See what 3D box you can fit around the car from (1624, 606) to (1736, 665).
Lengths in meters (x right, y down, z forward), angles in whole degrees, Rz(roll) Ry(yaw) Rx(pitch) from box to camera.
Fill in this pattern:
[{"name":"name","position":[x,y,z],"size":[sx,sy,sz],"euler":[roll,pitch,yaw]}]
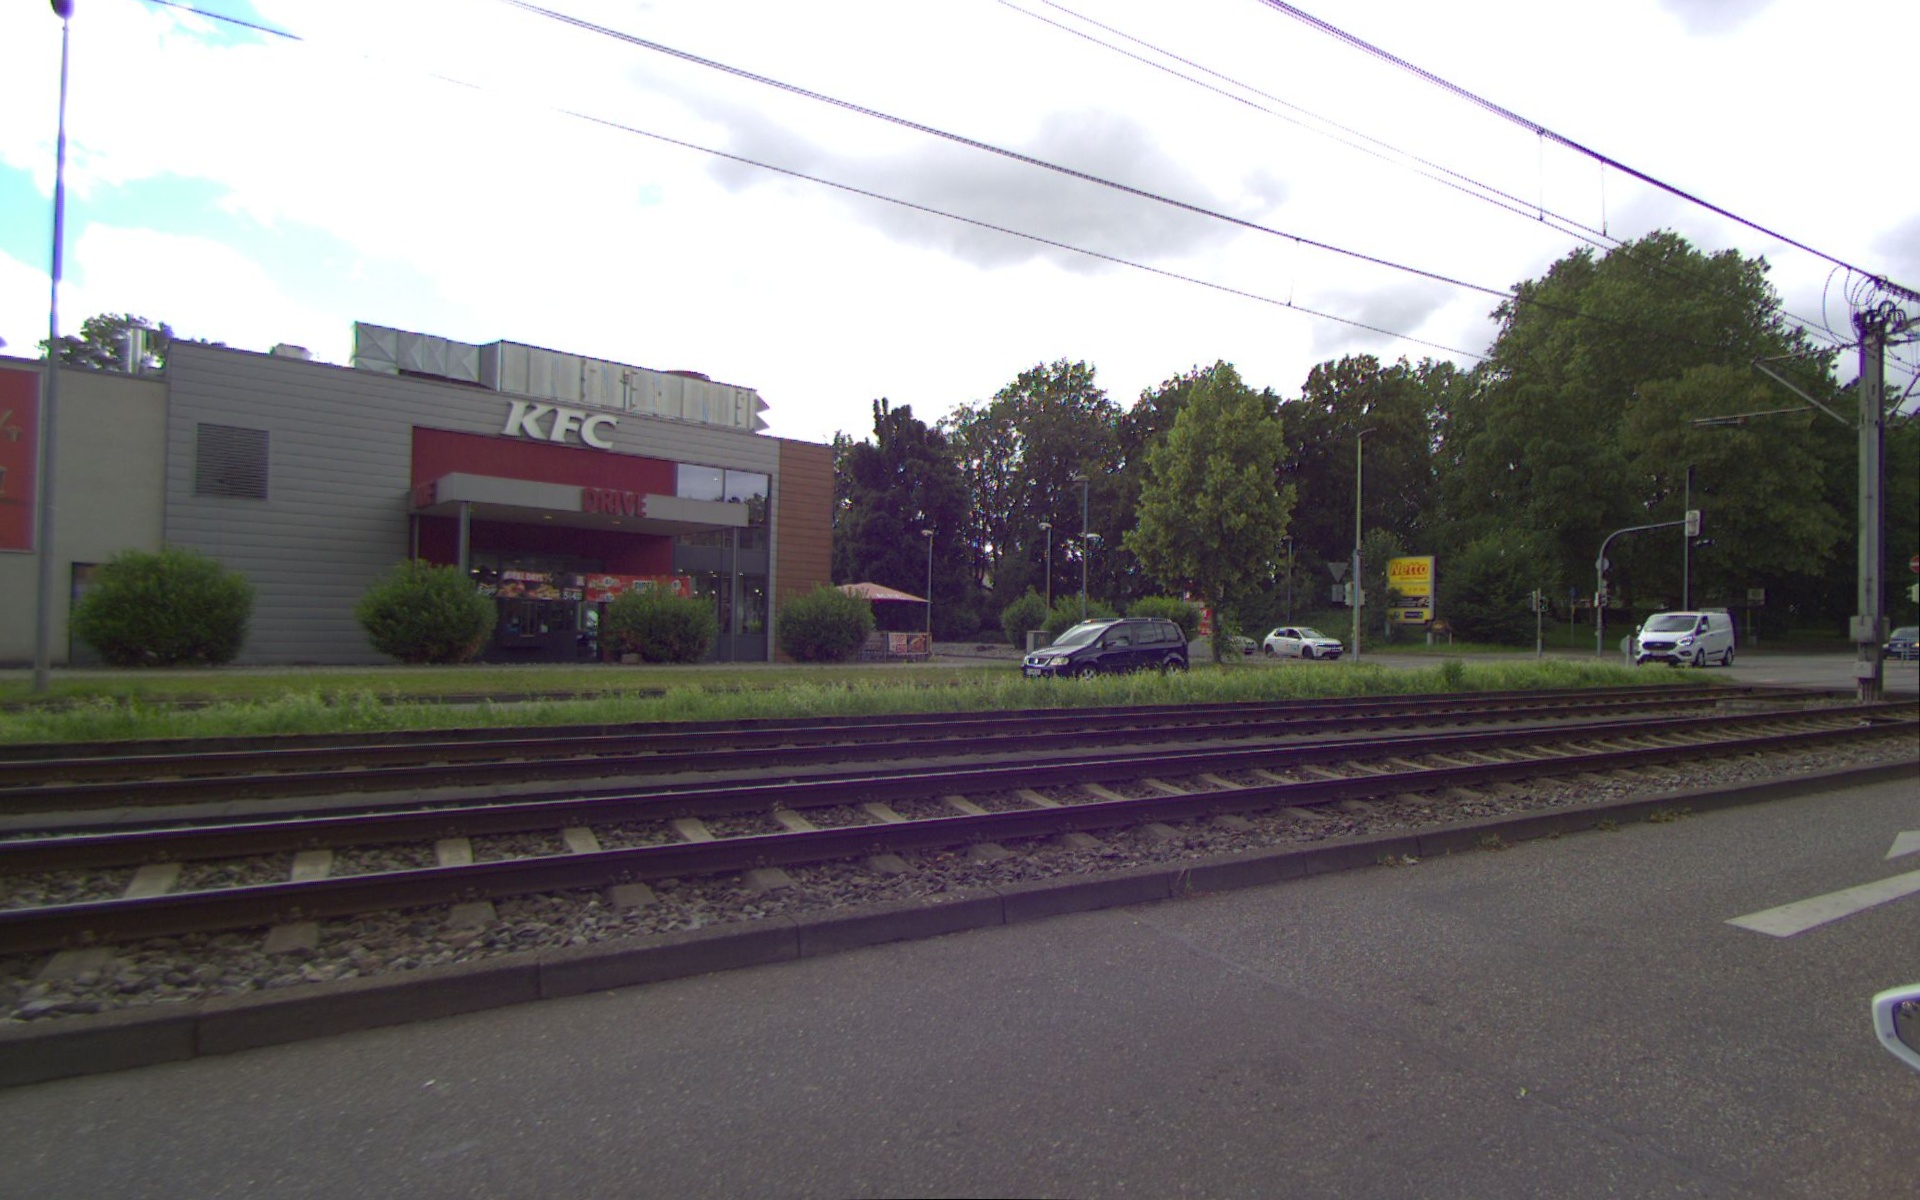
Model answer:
[{"name":"car","position":[26.650,1.317,37.109],"size":[4.839,2.040,1.980],"euler":[2,-2,-36]}]

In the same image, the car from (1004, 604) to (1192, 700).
[{"name":"car","position":[3.234,1.181,23.299],"size":[4.065,2.040,1.981],"euler":[2,-2,-34]}]

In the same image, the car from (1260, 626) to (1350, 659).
[{"name":"car","position":[15.853,1.926,46.348],"size":[1.821,1.426,3.869],"euler":[1,-2,-24]}]

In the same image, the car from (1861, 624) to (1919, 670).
[{"name":"car","position":[41.728,2.074,44.520],"size":[3.958,1.885,1.686],"euler":[2,1,-34]}]

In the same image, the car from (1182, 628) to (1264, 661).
[{"name":"car","position":[13.439,2.251,51.508],"size":[1.826,1.572,3.966],"euler":[2,-2,-32]}]
